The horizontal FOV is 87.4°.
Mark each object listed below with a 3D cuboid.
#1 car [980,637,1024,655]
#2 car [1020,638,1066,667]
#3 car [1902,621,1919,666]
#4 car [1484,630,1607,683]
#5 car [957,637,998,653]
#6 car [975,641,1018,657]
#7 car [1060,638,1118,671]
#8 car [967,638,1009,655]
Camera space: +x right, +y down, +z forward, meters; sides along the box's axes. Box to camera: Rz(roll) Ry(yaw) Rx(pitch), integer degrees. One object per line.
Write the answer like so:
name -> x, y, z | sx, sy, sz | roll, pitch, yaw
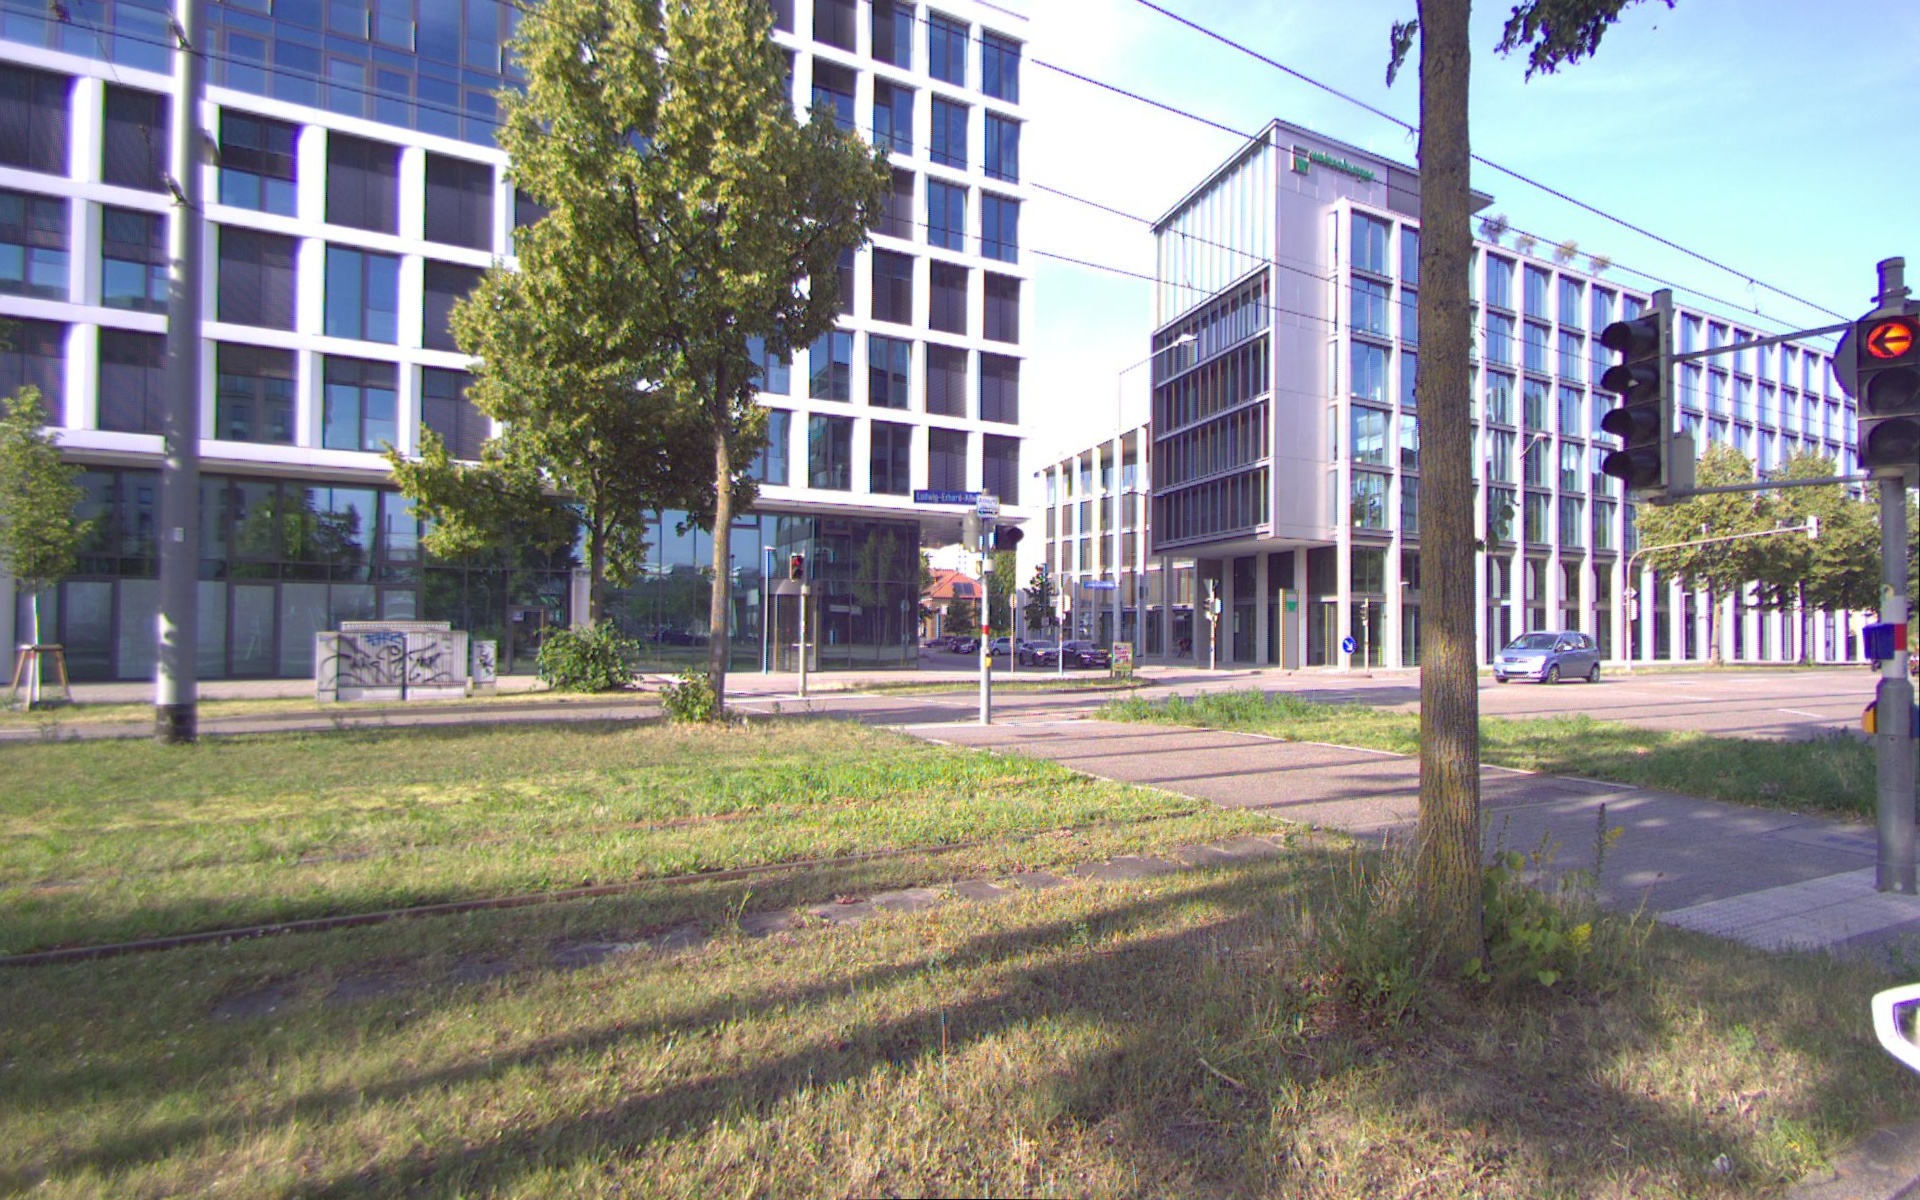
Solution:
car -> 3.607, 3.934, 86.628 | 3.535, 1.417, 1.524 | 2, 0, -14
car -> 4.757, 3.030, 58.053 | 1.549, 1.443, 3.668 | 2, 0, -14
car -> 40.368, 1.799, 41.170 | 3.841, 1.799, 1.674 | 2, 0, -33
car -> 17.893, 1.707, 30.642 | 3.913, 1.462, 1.629 | 2, 0, -33
car -> 1.663, 4.331, 96.711 | 3.614, 1.416, 1.550 | 2, 0, -14
car -> 3.251, 4.369, 89.605 | 3.535, 1.313, 1.524 | 2, 0, -14
car -> 6.501, 2.753, 51.034 | 1.551, 1.443, 3.498 | 2, 0, -18
car -> 2.584, 4.305, 93.325 | 3.614, 1.416, 1.550 | 2, 0, -14
